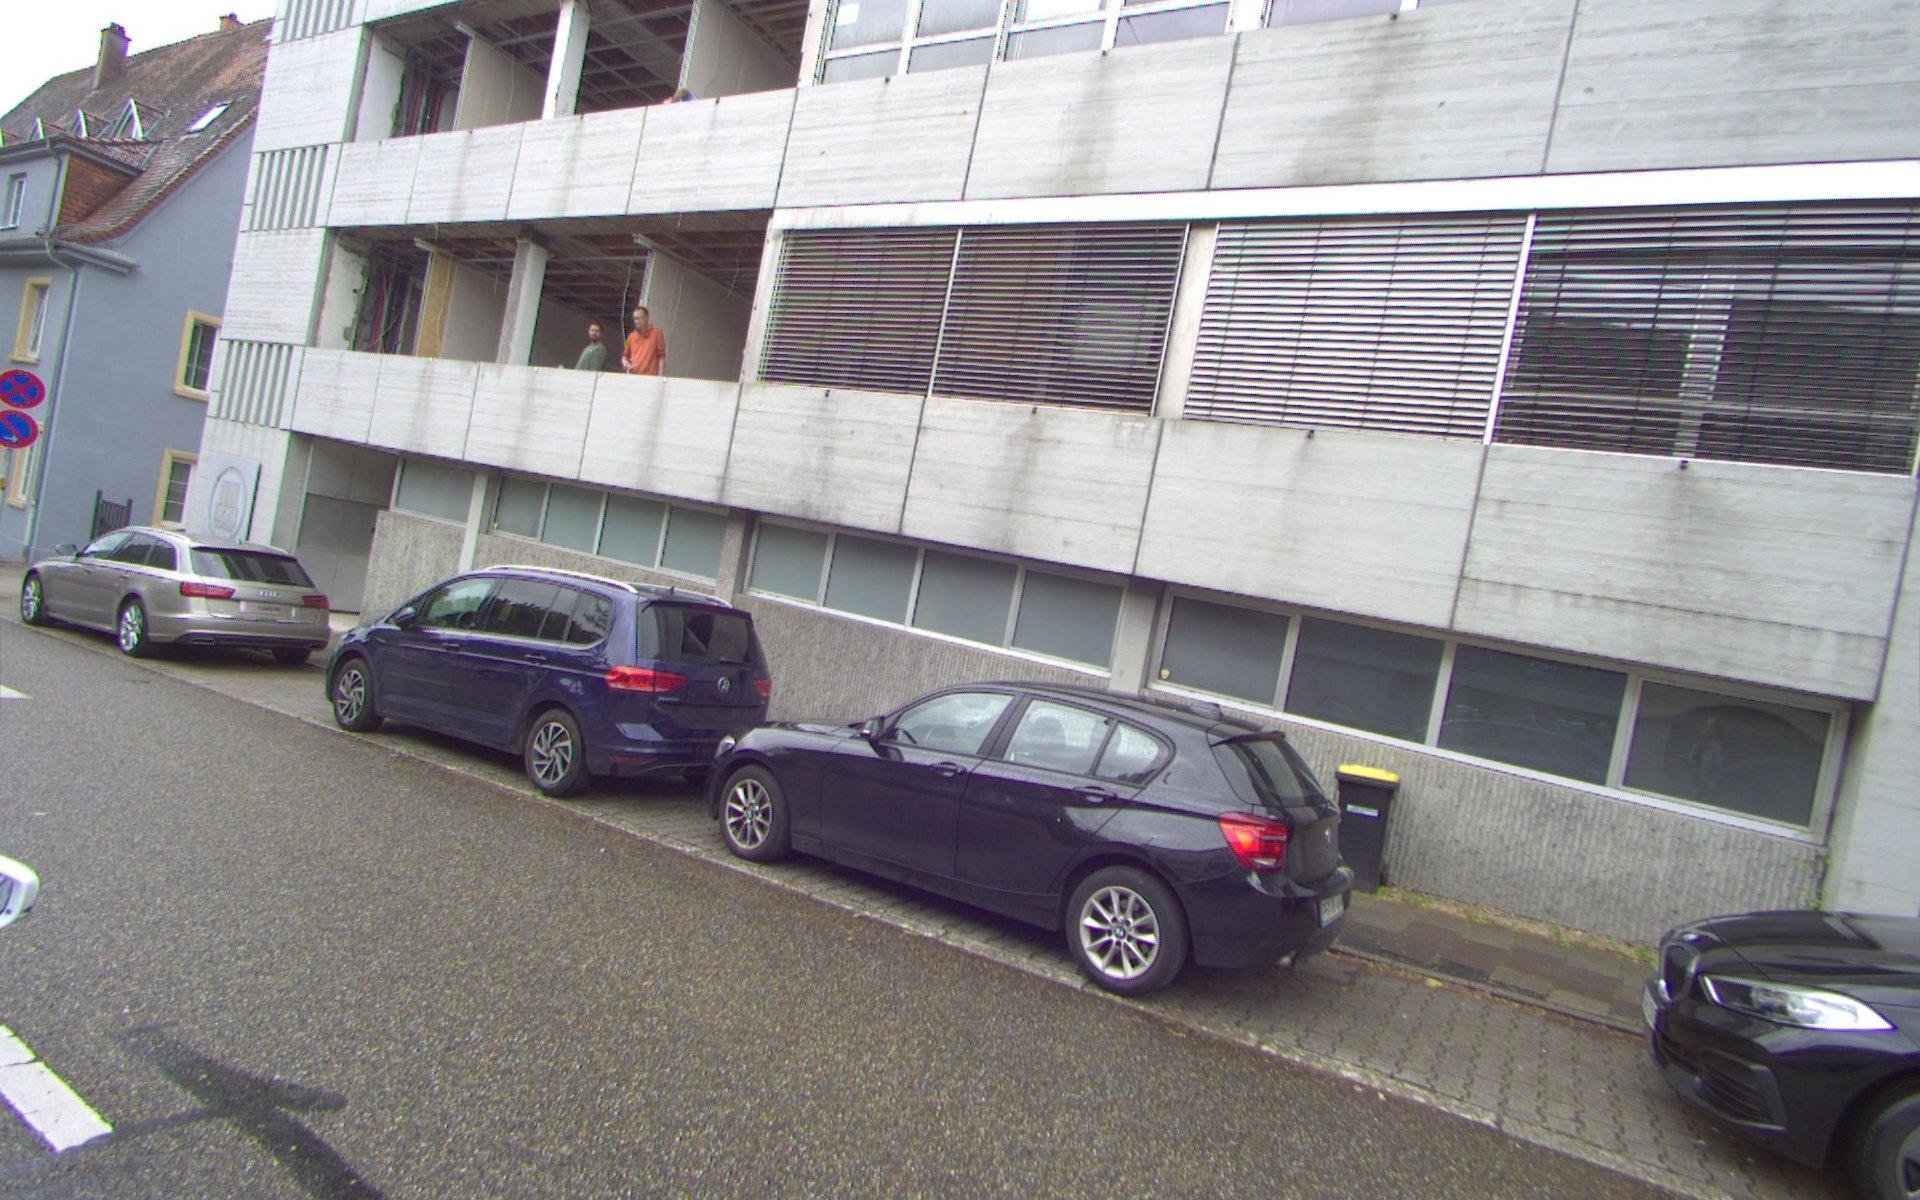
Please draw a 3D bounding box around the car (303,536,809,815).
[{"bbox_3d":[-3.542,0.530,8.655,4.090,1.618,1.732,7,-1,30],"label":"car"}]

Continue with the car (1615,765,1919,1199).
[{"bbox_3d":[5.071,1.776,3.536,4.367,1.452,1.997,7,0,30],"label":"car"}]

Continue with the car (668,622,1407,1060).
[{"bbox_3d":[0.319,1.166,6.314,4.183,1.465,1.750,7,-1,34],"label":"car"}]

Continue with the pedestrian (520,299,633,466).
[{"bbox_3d":[-5.322,-2.985,13.995,0.847,2.036,0.909,6,-2,31],"label":"pedestrian"}]

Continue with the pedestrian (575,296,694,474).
[{"bbox_3d":[-4.227,-2.757,13.105,0.847,2.036,0.909,6,-2,31],"label":"pedestrian"}]

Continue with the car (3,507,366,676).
[{"bbox_3d":[-9.819,-0.129,12.679,4.449,1.465,1.967,7,-1,30],"label":"car"}]
